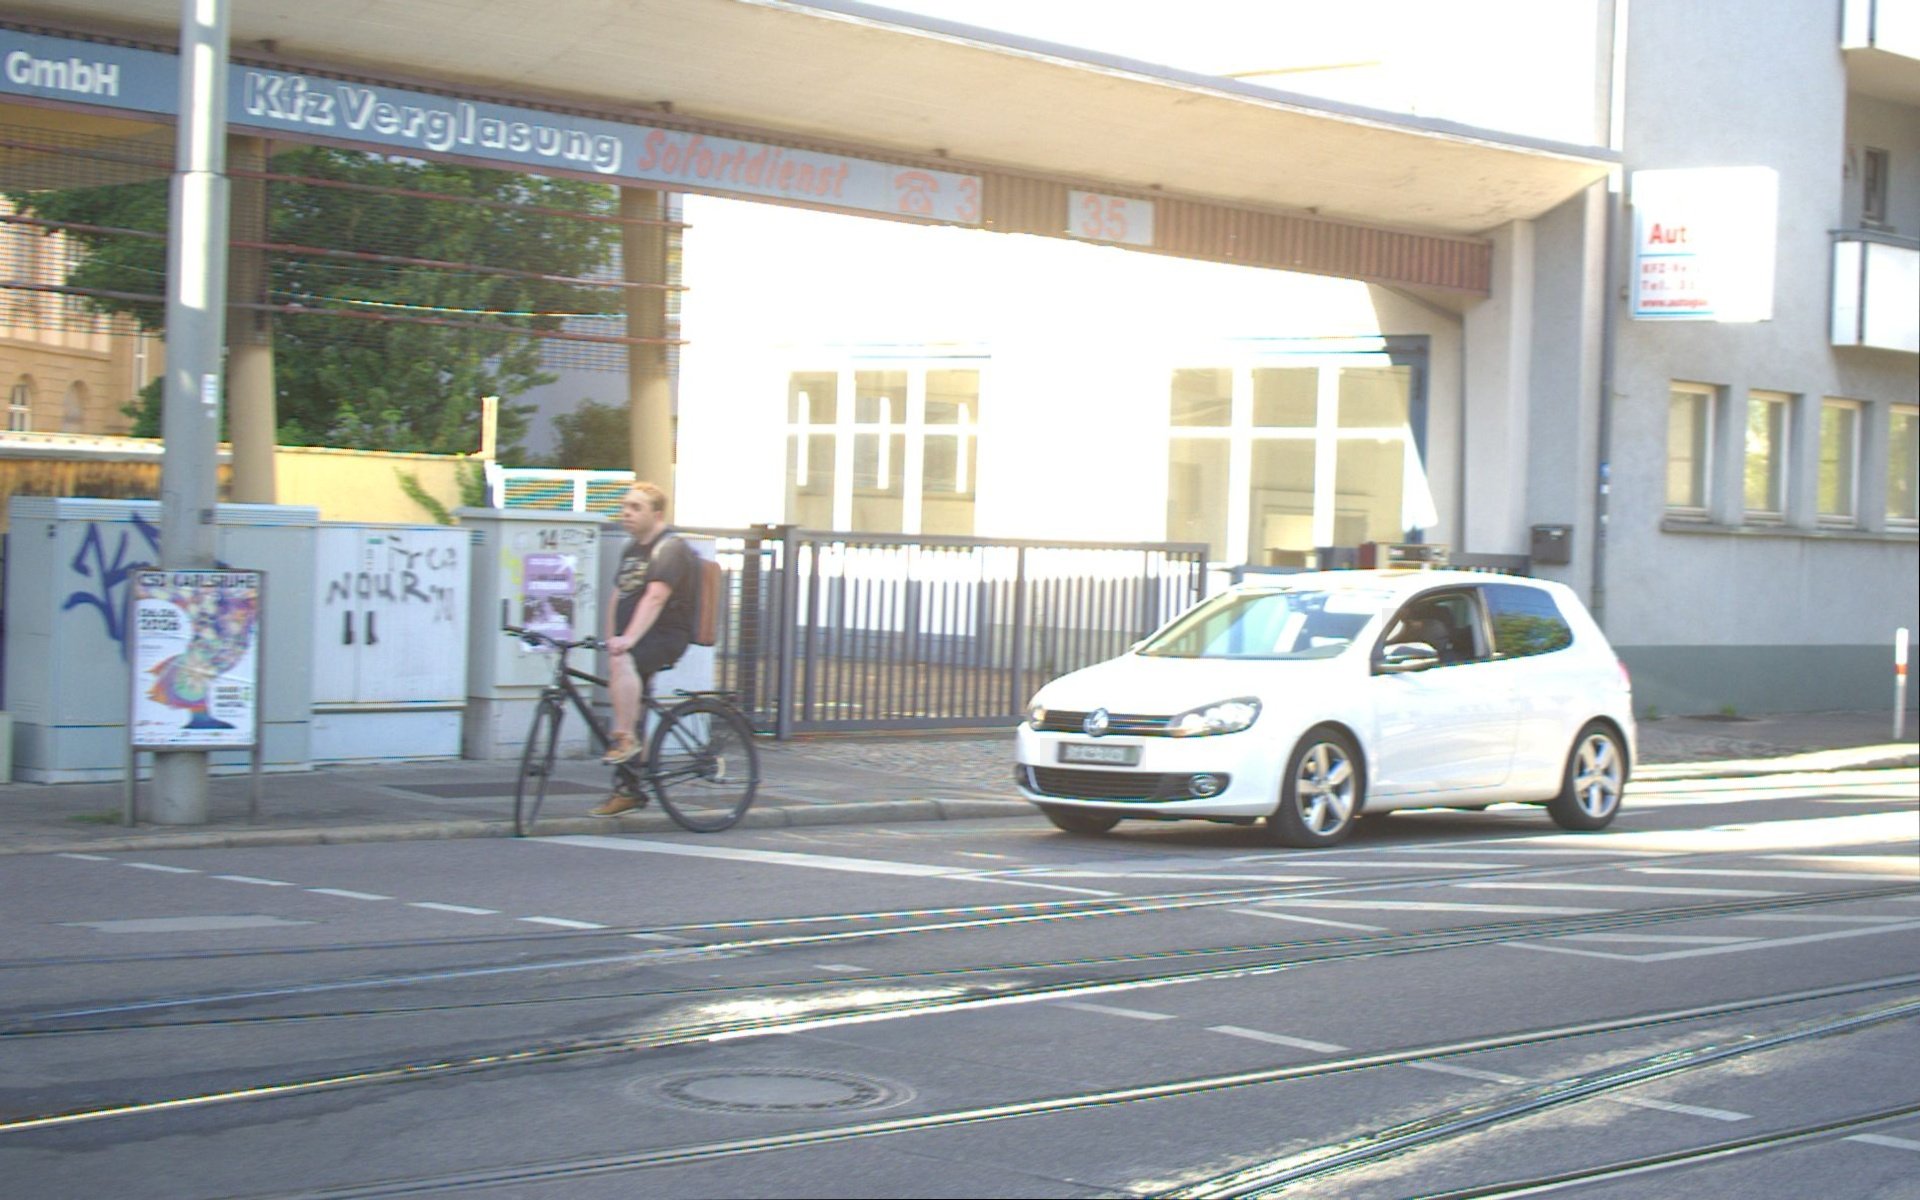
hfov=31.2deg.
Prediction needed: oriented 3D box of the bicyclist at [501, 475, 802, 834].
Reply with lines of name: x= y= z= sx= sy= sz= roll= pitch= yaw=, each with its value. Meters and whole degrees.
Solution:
bicyclist: x=-1.599 y=0.264 z=17.929 sx=0.910 sy=1.781 sz=1.250 roll=2 pitch=1 yaw=38

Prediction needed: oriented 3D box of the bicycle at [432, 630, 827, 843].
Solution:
bicycle: x=-1.685 y=0.676 z=17.816 sx=0.727 sy=1.014 sz=2.043 roll=3 pitch=1 yaw=43

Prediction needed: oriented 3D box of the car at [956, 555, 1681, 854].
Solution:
car: x=2.076 y=0.521 z=18.995 sx=1.795 sy=1.453 sz=4.179 roll=1 pitch=0 yaw=43
